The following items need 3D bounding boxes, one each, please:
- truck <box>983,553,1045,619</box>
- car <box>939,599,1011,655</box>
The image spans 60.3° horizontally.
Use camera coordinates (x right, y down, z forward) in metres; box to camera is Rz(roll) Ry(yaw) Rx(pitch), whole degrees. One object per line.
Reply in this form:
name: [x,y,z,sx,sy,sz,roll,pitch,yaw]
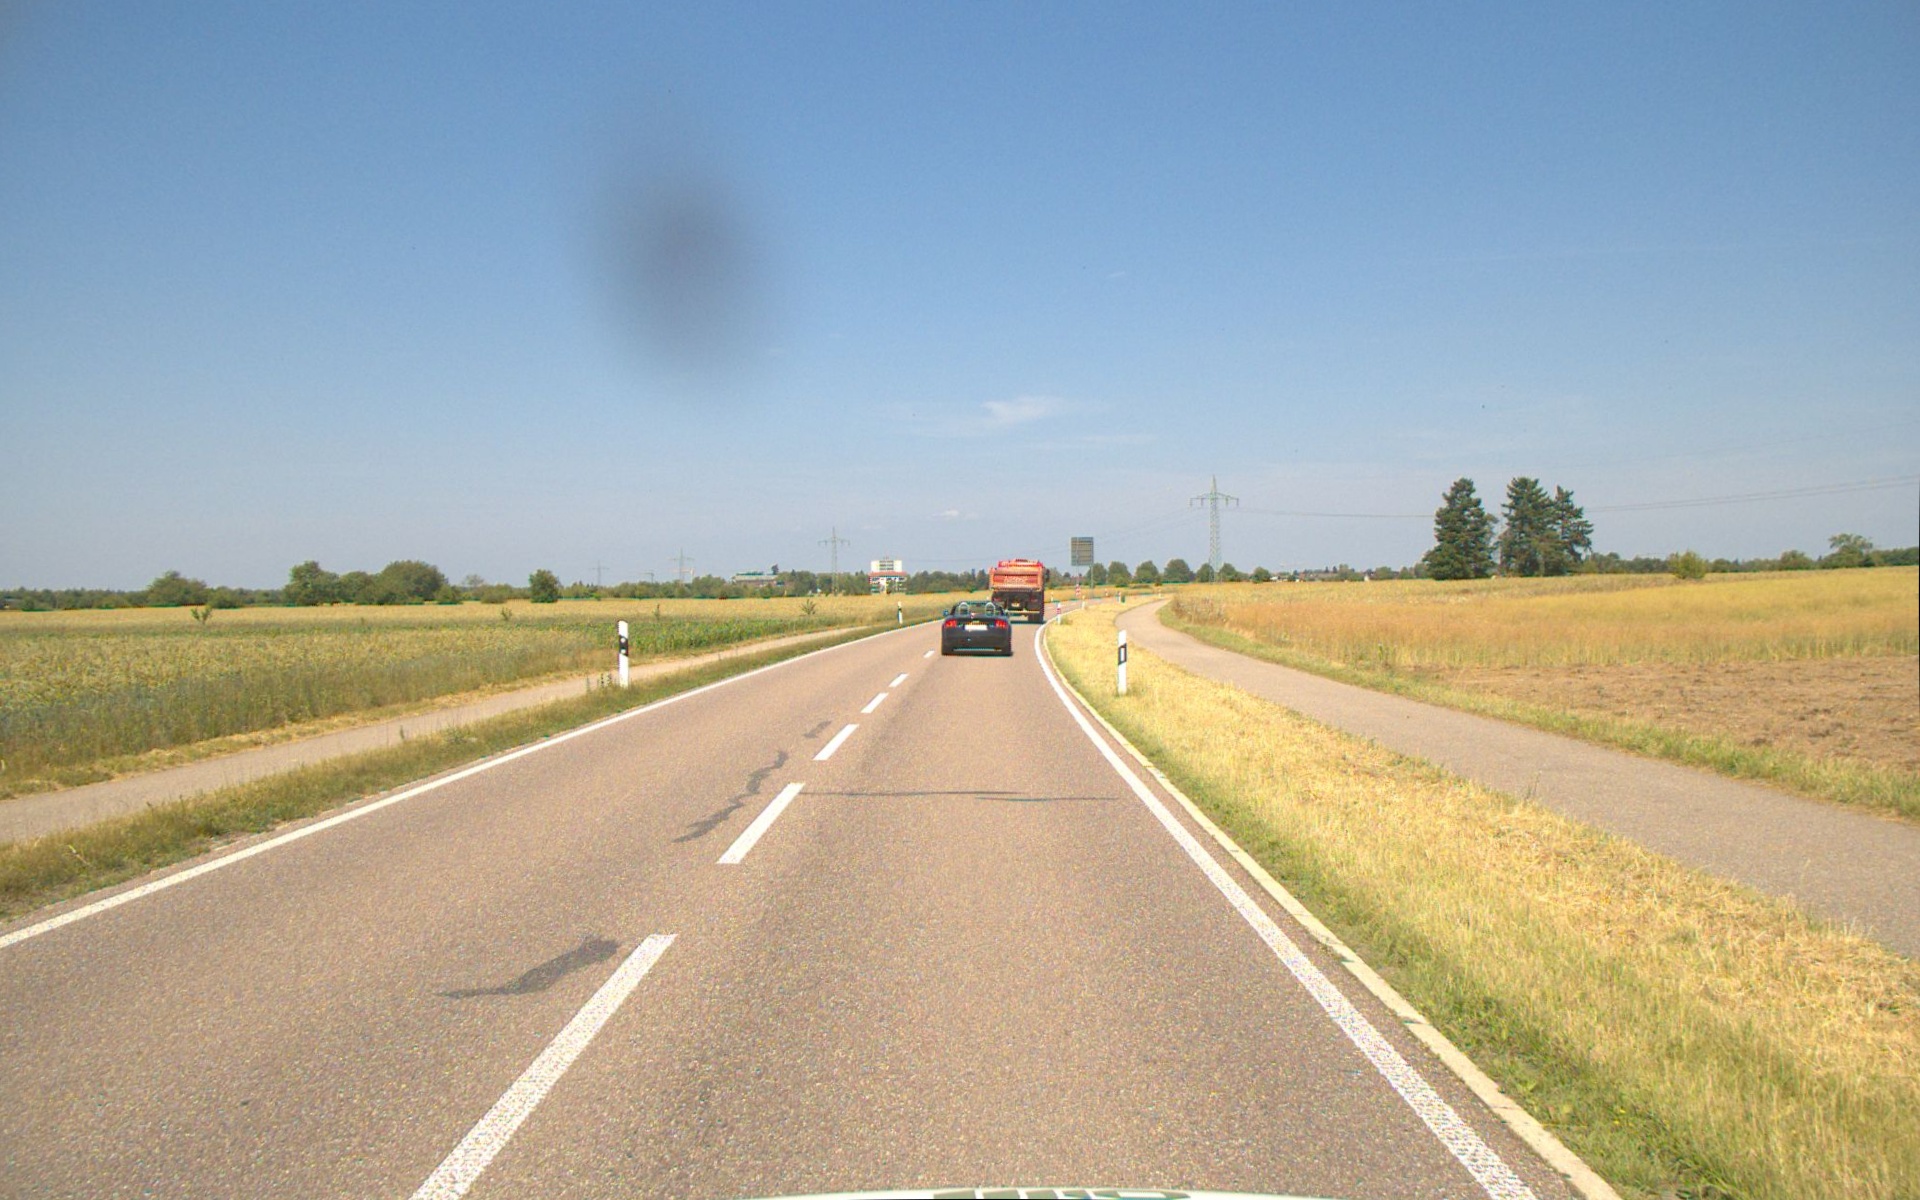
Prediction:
truck: [2.760,-0.640,82.014,2.876,3.143,7.199,0,0,3]
car: [0.416,0.647,41.278,1.708,1.302,4.001,0,0,1]
